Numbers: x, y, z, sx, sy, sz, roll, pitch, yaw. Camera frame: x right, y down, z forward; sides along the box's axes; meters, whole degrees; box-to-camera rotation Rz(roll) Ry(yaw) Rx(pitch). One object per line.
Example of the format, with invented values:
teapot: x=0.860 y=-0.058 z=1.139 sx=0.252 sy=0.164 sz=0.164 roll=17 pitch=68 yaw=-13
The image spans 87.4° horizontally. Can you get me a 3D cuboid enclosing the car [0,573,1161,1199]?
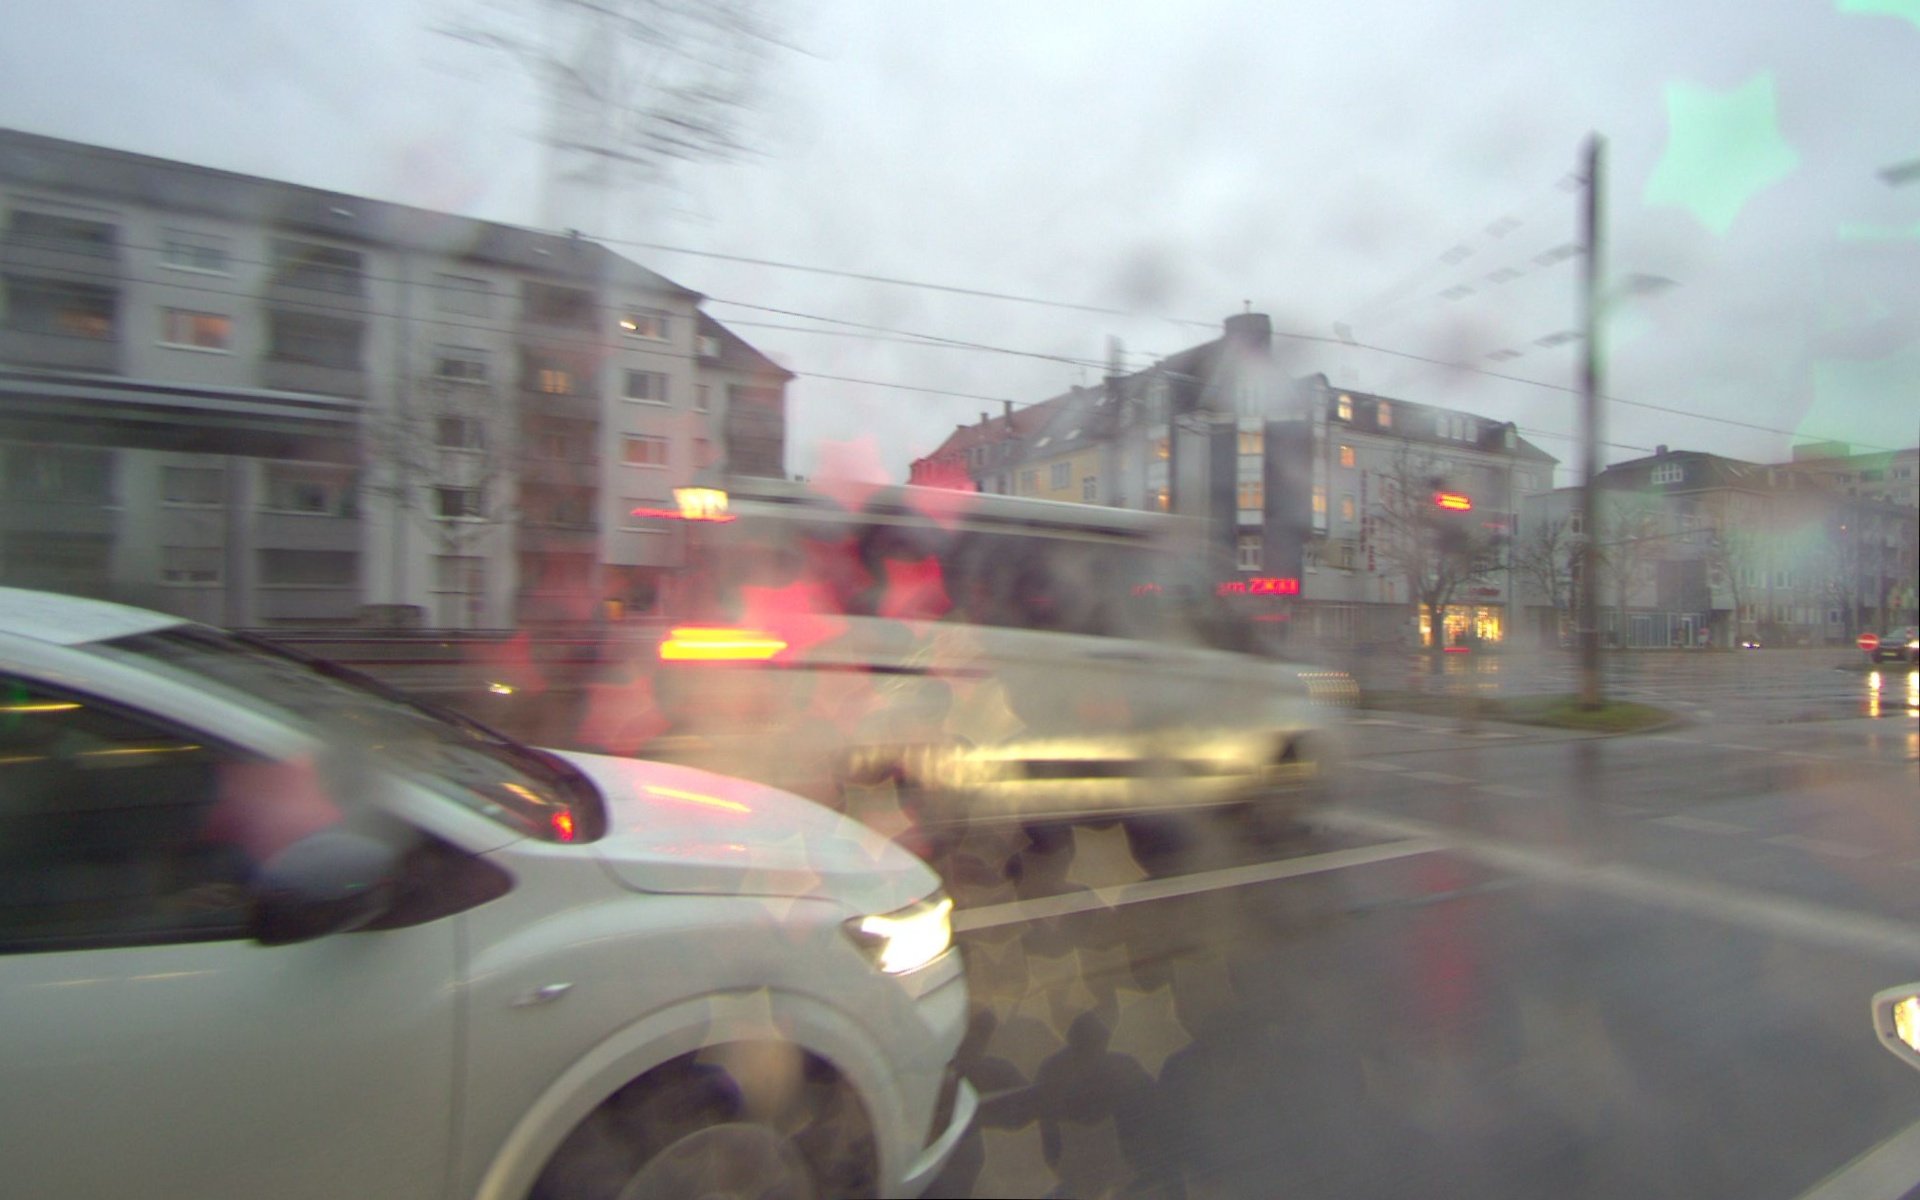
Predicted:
car: x=-1.686 y=0.701 z=2.052 sx=3.953 sy=1.485 sz=1.700 roll=3 pitch=0 yaw=-30

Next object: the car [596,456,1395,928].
car: x=0.373 y=0.452 z=6.442 sx=4.825 sy=2.060 sz=1.943 roll=1 pitch=0 yaw=-30

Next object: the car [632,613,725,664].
car: x=-8.898 y=1.177 z=31.568 sx=1.681 sy=1.384 sz=3.774 roll=2 pitch=-1 yaw=-34

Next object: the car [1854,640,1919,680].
car: x=41.649 y=2.648 z=44.647 sx=3.956 sy=1.628 sz=1.795 roll=3 pitch=0 yaw=-32

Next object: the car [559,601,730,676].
car: x=-7.709 y=0.950 z=24.602 sx=3.687 sy=1.710 sz=1.702 roll=3 pitch=0 yaw=-30
